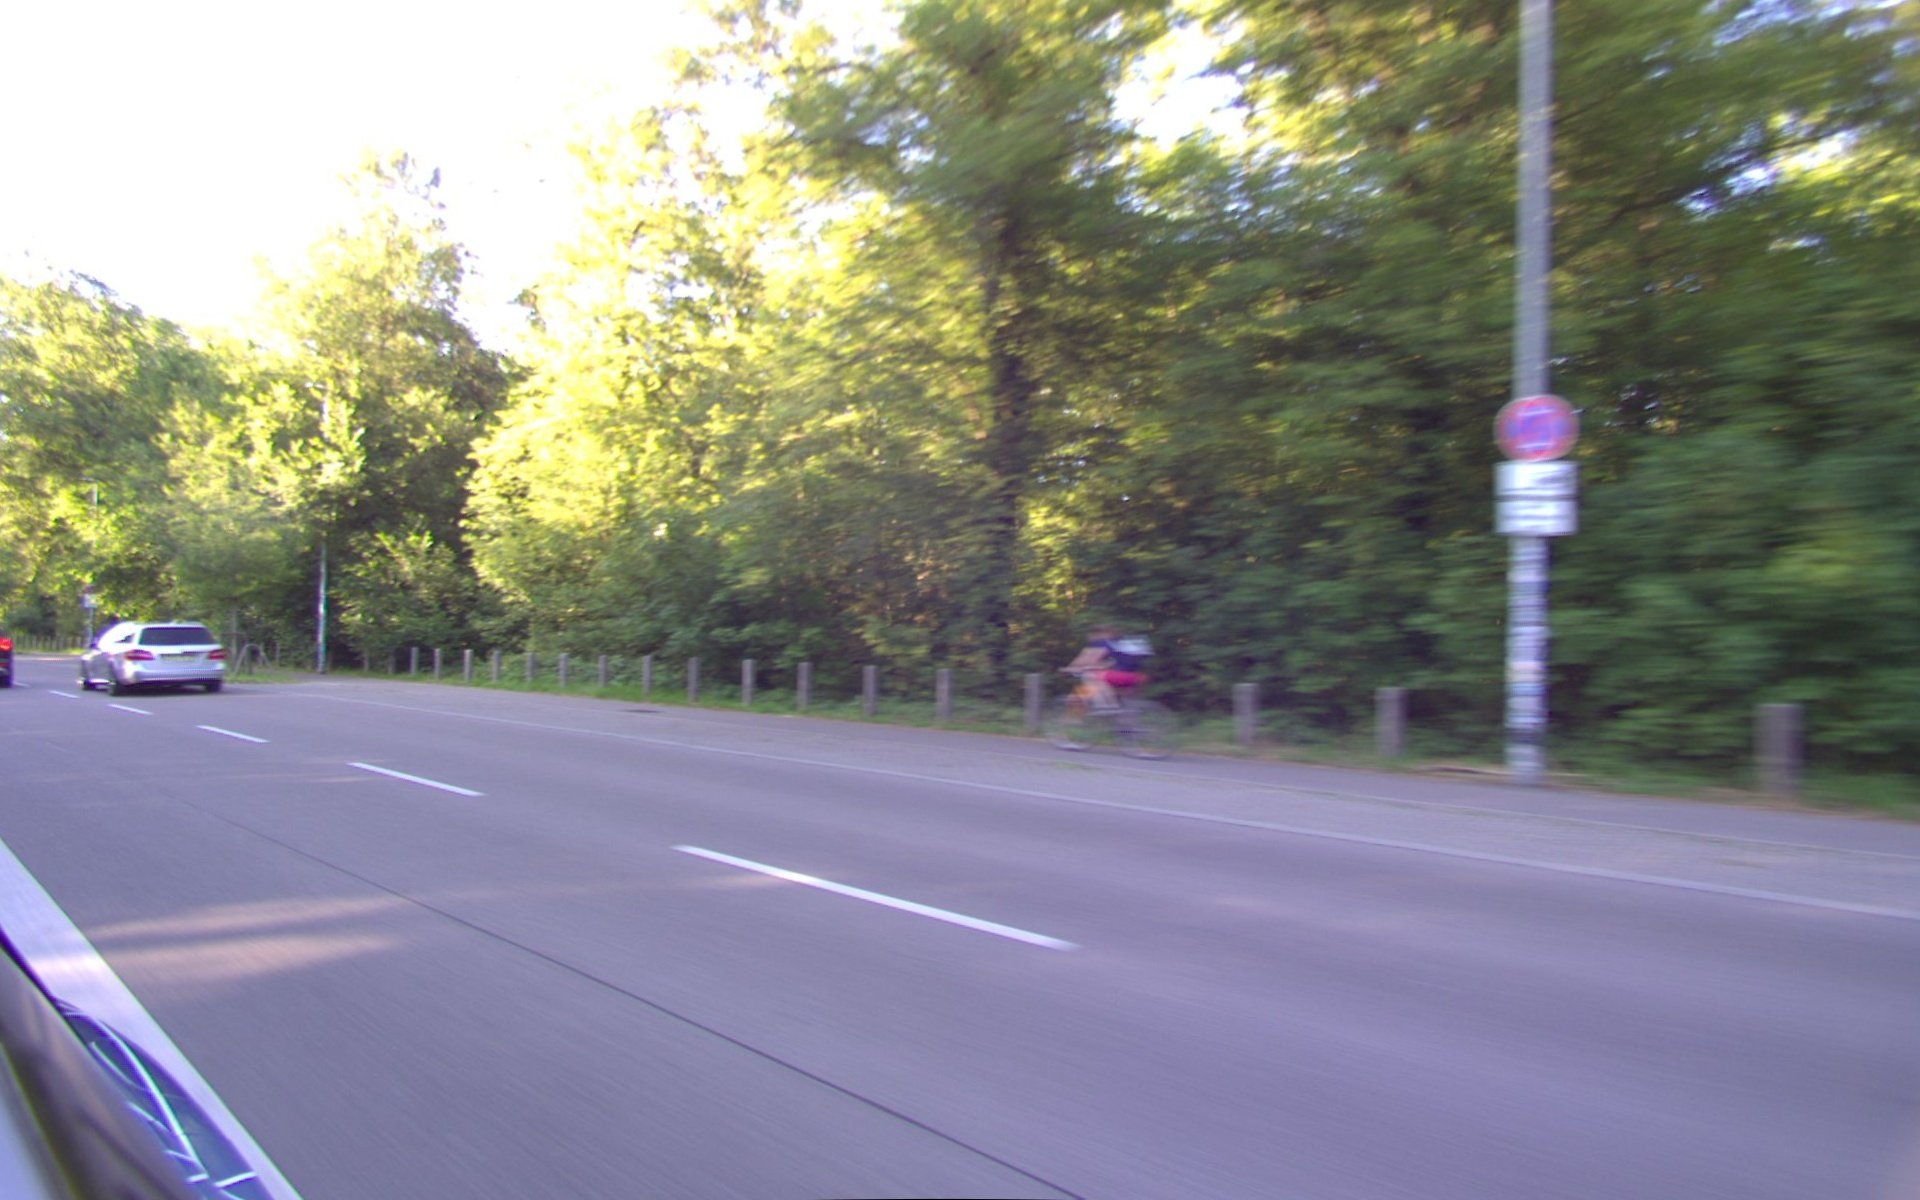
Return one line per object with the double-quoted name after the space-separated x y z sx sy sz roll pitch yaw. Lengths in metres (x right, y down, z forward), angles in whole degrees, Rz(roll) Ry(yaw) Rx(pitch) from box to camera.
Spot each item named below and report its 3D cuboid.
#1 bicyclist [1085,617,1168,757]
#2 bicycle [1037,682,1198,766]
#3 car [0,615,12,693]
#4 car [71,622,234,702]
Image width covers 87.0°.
1.850 0.946 11.244 0.760 1.495 0.494 -2 -4 41 "bicyclist"
1.732 1.354 11.331 1.807 0.820 0.490 -2 -5 41 "bicycle"
-23.469 1.224 23.332 4.440 1.717 1.898 -1 -2 41 "car"
-17.387 1.252 21.723 4.525 1.543 1.879 -1 -2 40 "car"
